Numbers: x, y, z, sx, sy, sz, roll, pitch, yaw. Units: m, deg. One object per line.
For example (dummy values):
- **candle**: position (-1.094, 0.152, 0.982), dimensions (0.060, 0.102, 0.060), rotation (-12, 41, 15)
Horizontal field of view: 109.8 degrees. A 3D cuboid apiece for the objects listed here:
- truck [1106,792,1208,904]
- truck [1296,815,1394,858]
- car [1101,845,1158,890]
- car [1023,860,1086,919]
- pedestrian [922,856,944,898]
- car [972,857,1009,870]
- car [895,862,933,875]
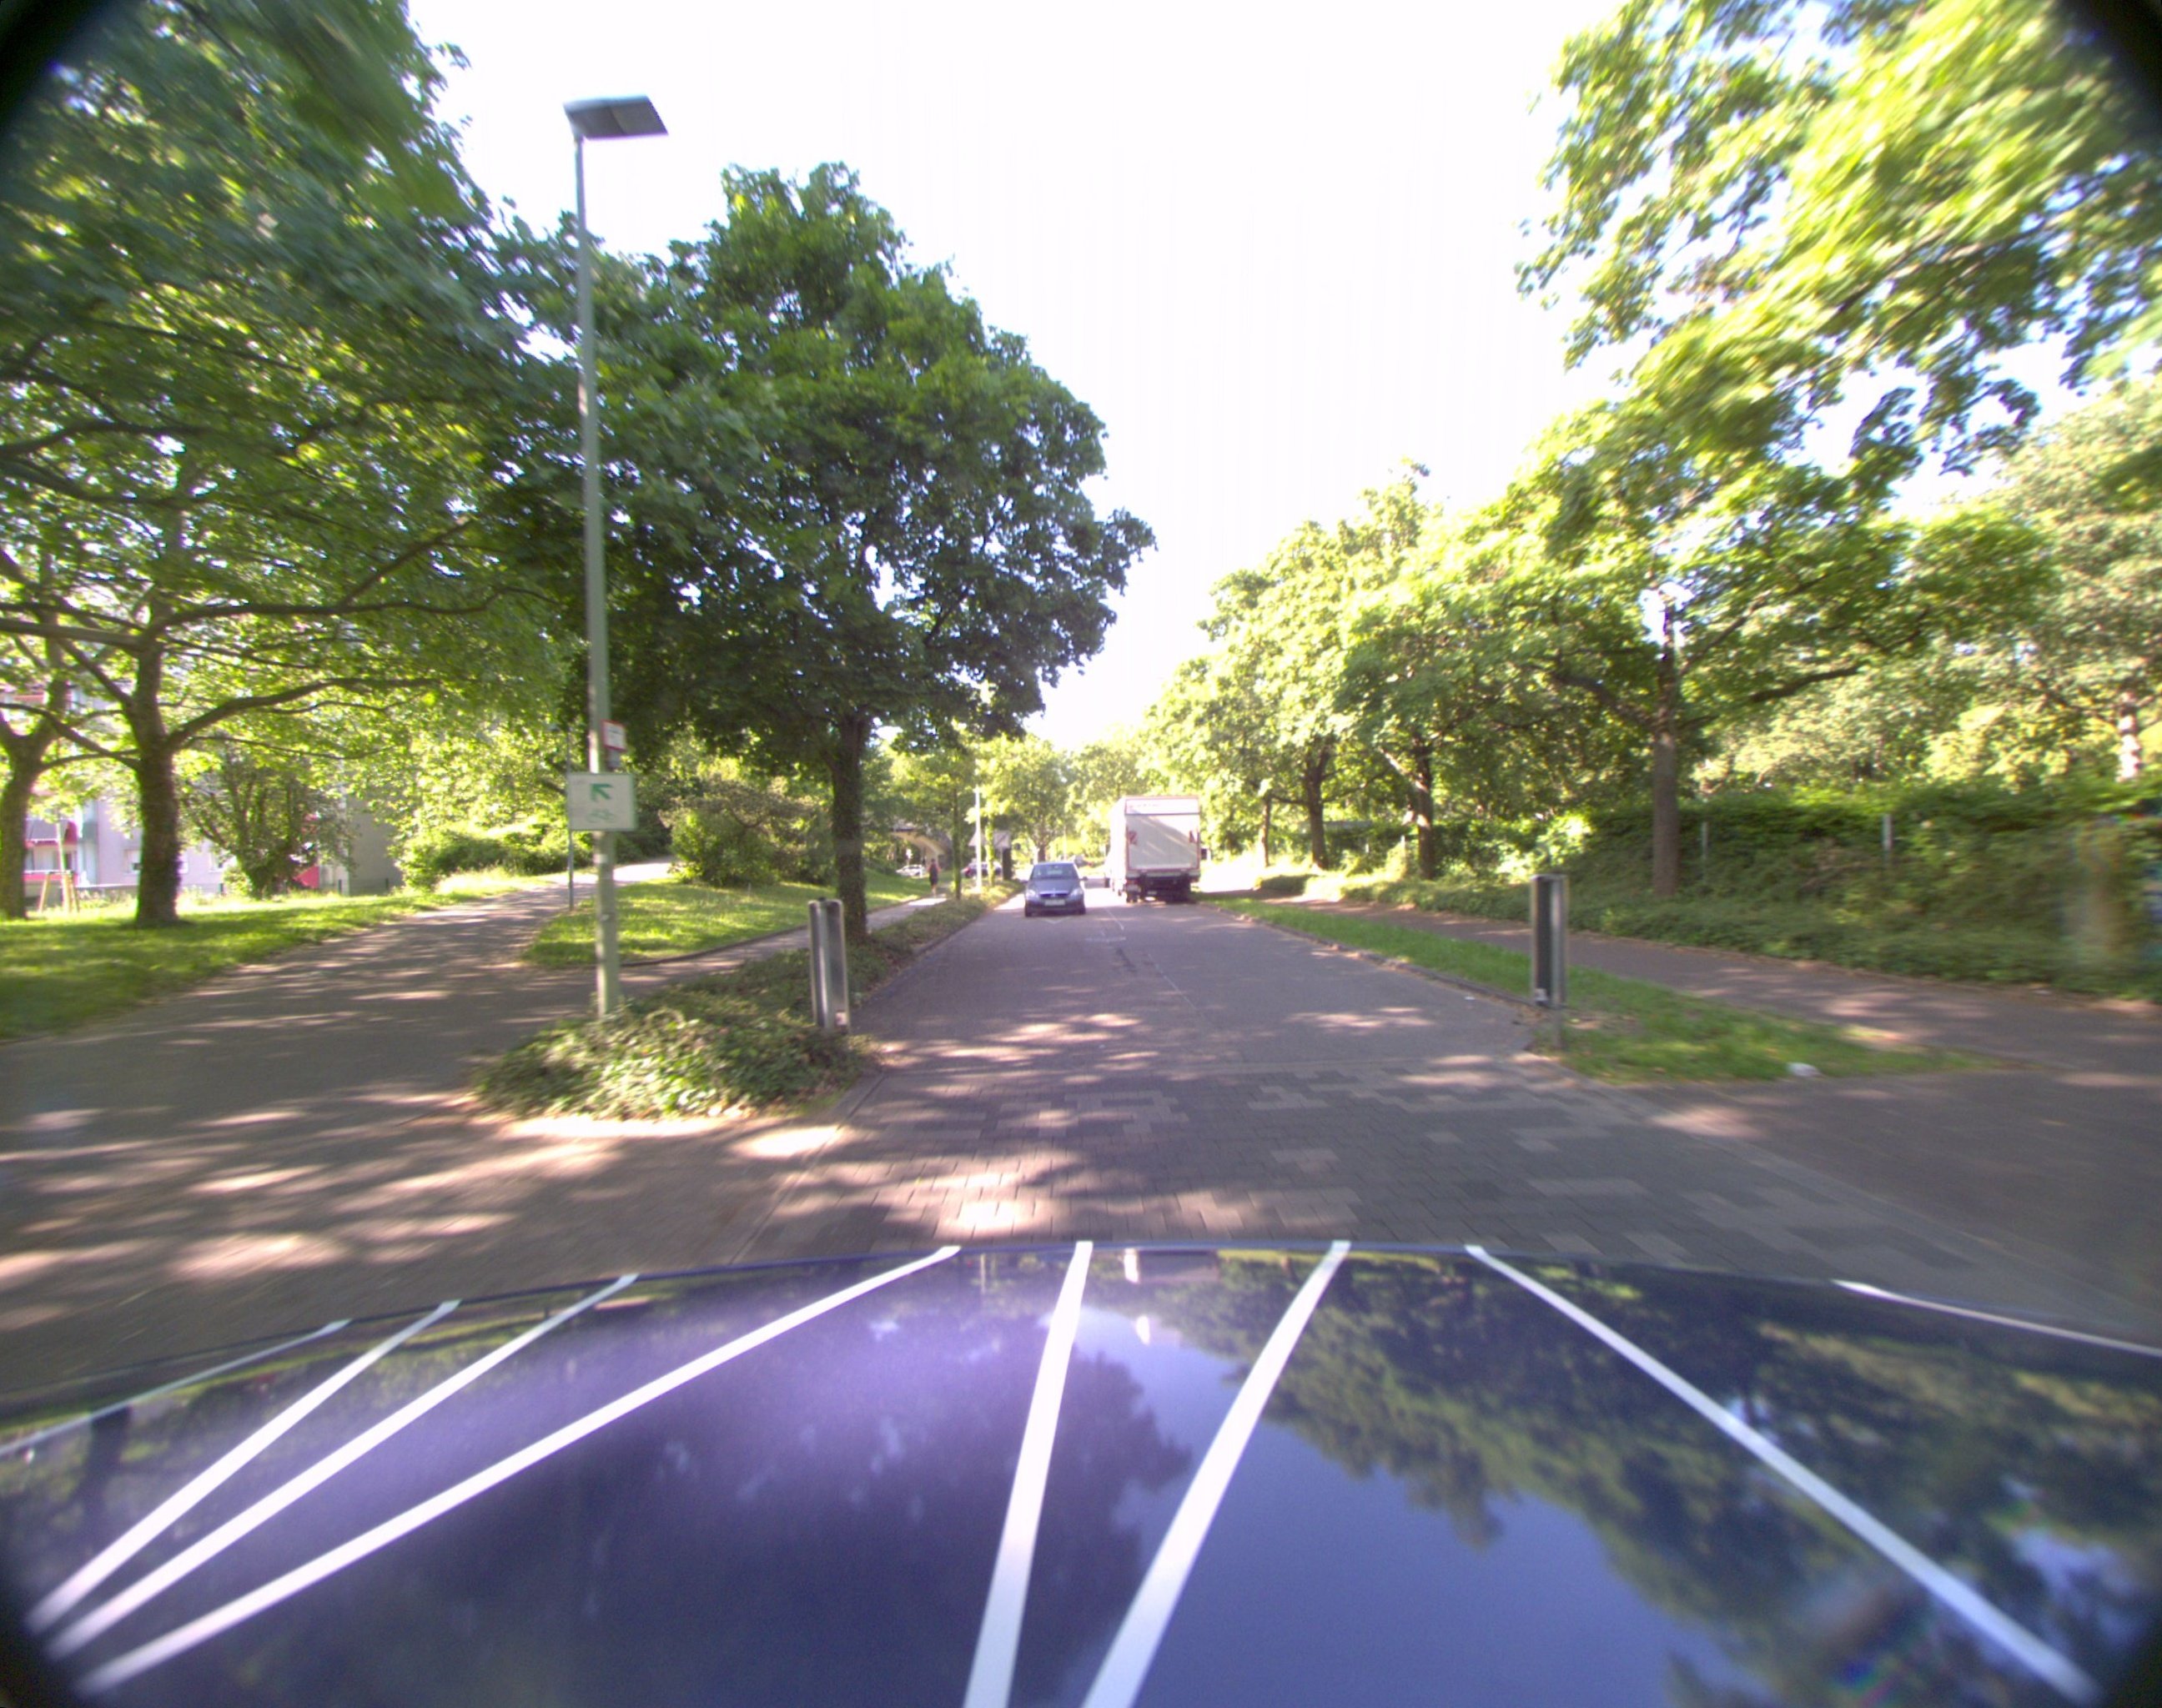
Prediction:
- **truck**: position (2.687, -0.201, 29.446), dimensions (2.742, 3.620, 8.099), rotation (-2, 0, -2)
- **truck**: position (12.830, -0.840, 37.081), dimensions (3.998, 2.002, 2.203), rotation (-1, 0, -4)
- **car**: position (2.391, 0.639, 39.279), dimensions (2.125, 2.083, 6.582), rotation (-2, 0, -3)
- **car**: position (-0.827, 1.006, 23.403), dimensions (1.734, 1.578, 3.999), rotation (-2, 0, -2)
- **pedestrian**: position (-6.544, 0.995, 33.658), dimensions (0.793, 1.821, 0.671), rotation (-2, 1, -1)
- **car**: position (-10.582, 1.103, 89.205), dimensions (4.089, 1.258, 1.757), rotation (-4, 1, 0)
- **car**: position (-19.964, 1.719, 91.048), dimensions (4.062, 1.213, 1.620), rotation (-4, 1, 4)
